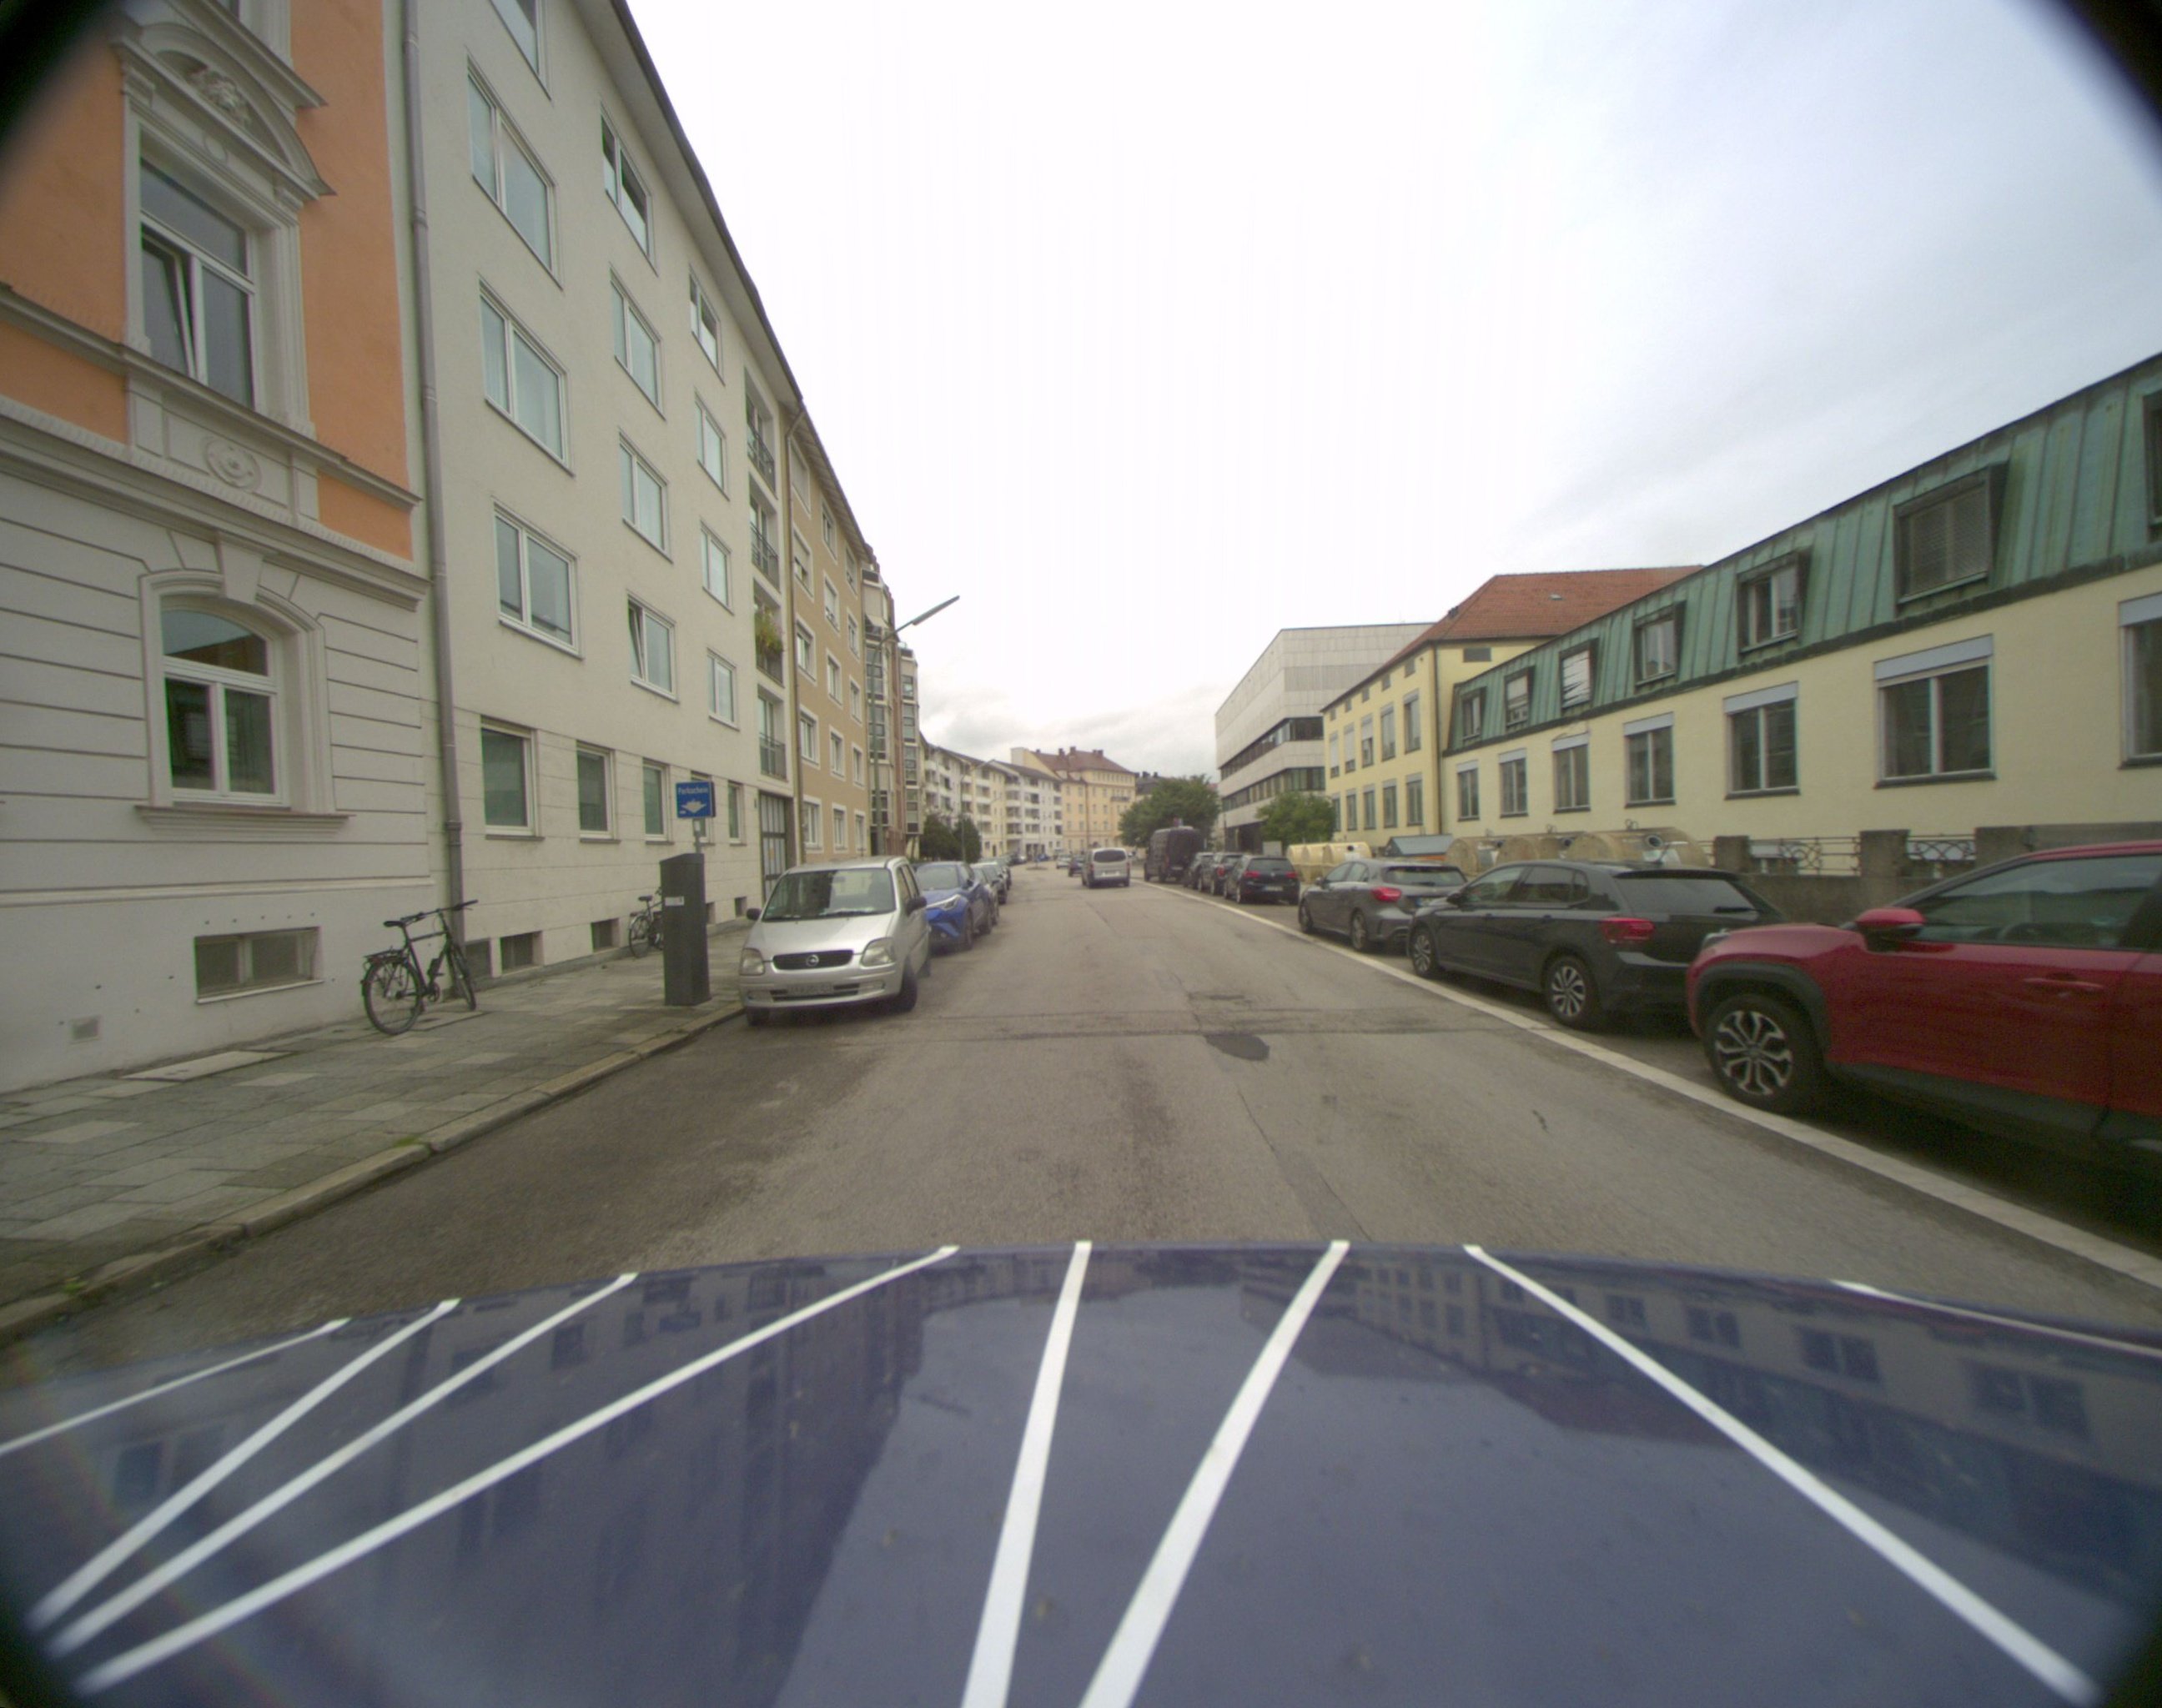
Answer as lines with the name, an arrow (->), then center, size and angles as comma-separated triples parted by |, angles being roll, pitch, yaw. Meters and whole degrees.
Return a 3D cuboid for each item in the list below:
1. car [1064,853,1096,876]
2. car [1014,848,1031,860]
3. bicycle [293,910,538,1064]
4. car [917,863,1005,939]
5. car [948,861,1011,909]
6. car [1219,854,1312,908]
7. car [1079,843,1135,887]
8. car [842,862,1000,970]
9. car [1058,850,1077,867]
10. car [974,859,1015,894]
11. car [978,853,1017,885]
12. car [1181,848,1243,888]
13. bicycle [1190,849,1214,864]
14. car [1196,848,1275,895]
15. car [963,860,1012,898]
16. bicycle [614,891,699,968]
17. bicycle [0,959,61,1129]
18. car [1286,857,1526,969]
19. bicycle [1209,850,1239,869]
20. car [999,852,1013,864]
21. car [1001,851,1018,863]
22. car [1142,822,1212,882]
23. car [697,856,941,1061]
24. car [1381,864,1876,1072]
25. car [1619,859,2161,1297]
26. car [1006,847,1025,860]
car -> -0.097, 0.694, 52.827 | 1.666, 1.466, 3.705 | -3, 1, -7
car -> -8.812, -0.019, 114.106 | 1.998, 1.630, 4.000 | -2, 1, 2
bicycle -> -6.292, 1.186, 7.375 | 0.725, 1.106, 1.993 | -2, 1, -6
car -> -2.822, 1.047, 18.733 | 1.710, 1.446, 4.400 | -5, 1, -5
car -> -3.596, 1.046, 27.628 | 1.960, 1.406, 5.110 | -3, 1, -5
car -> 5.572, 0.746, 23.502 | 1.918, 1.473, 4.532 | 1, 0, 2
car -> 1.163, 0.502, 36.778 | 1.921, 1.837, 5.318 | -4, 1, -5
car -> -2.694, 0.980, 13.939 | 1.746, 1.486, 4.548 | -3, 1, 2
car -> -1.438, 0.417, 79.610 | 1.797, 1.663, 4.148 | -2, 0, -2
car -> -4.443, 1.077, 38.418 | 1.763, 1.358, 4.777 | -7, 1, -8
car -> -4.855, 0.806, 43.707 | 1.883, 1.636, 4.640 | -2, 1, -9
car -> 5.567, 0.551, 32.770 | 1.885, 1.627, 4.348 | 1, 0, 0
bicycle -> 9.680, 0.175, 60.937 | 1.815, 1.145, 0.519 | -3, 1, 0
car -> 5.637, 0.611, 28.264 | 1.918, 1.578, 4.352 | 1, 0, -1
car -> -4.000, 1.018, 33.012 | 1.859, 1.406, 5.011 | -3, 0, -6
bicycle -> -7.103, 1.221, 12.810 | 0.530, 1.065, 1.999 | -2, 1, -8
bicycle -> -7.013, 1.208, 4.087 | 0.597, 1.018, 1.817 | -1, 0, -1
car -> 5.075, 0.825, 12.715 | 2.019, 1.410, 4.614 | 0, 1, 0
bicycle -> 9.143, 0.360, 48.742 | 1.814, 1.145, 0.519 | -2, 1, 8
car -> -9.490, 0.499, 96.182 | 1.755, 1.483, 3.997 | -3, 1, -5
car -> -9.542, 0.404, 101.287 | 1.824, 1.467, 4.000 | -2, 0, 1
car -> 4.839, -0.104, 39.306 | 2.219, 2.837, 6.192 | 0, 1, -6
car -> -2.661, 0.925, 8.644 | 1.686, 1.664, 3.802 | -4, 1, -6
car -> 4.827, 0.857, 7.681 | 1.754, 1.397, 4.353 | 1, 1, -2
car -> 4.758, 0.813, 3.020 | 1.963, 1.473, 4.528 | 0, 1, -1
car -> -9.114, -0.082, 105.987 | 1.998, 1.587, 4.000 | -2, 1, 3
